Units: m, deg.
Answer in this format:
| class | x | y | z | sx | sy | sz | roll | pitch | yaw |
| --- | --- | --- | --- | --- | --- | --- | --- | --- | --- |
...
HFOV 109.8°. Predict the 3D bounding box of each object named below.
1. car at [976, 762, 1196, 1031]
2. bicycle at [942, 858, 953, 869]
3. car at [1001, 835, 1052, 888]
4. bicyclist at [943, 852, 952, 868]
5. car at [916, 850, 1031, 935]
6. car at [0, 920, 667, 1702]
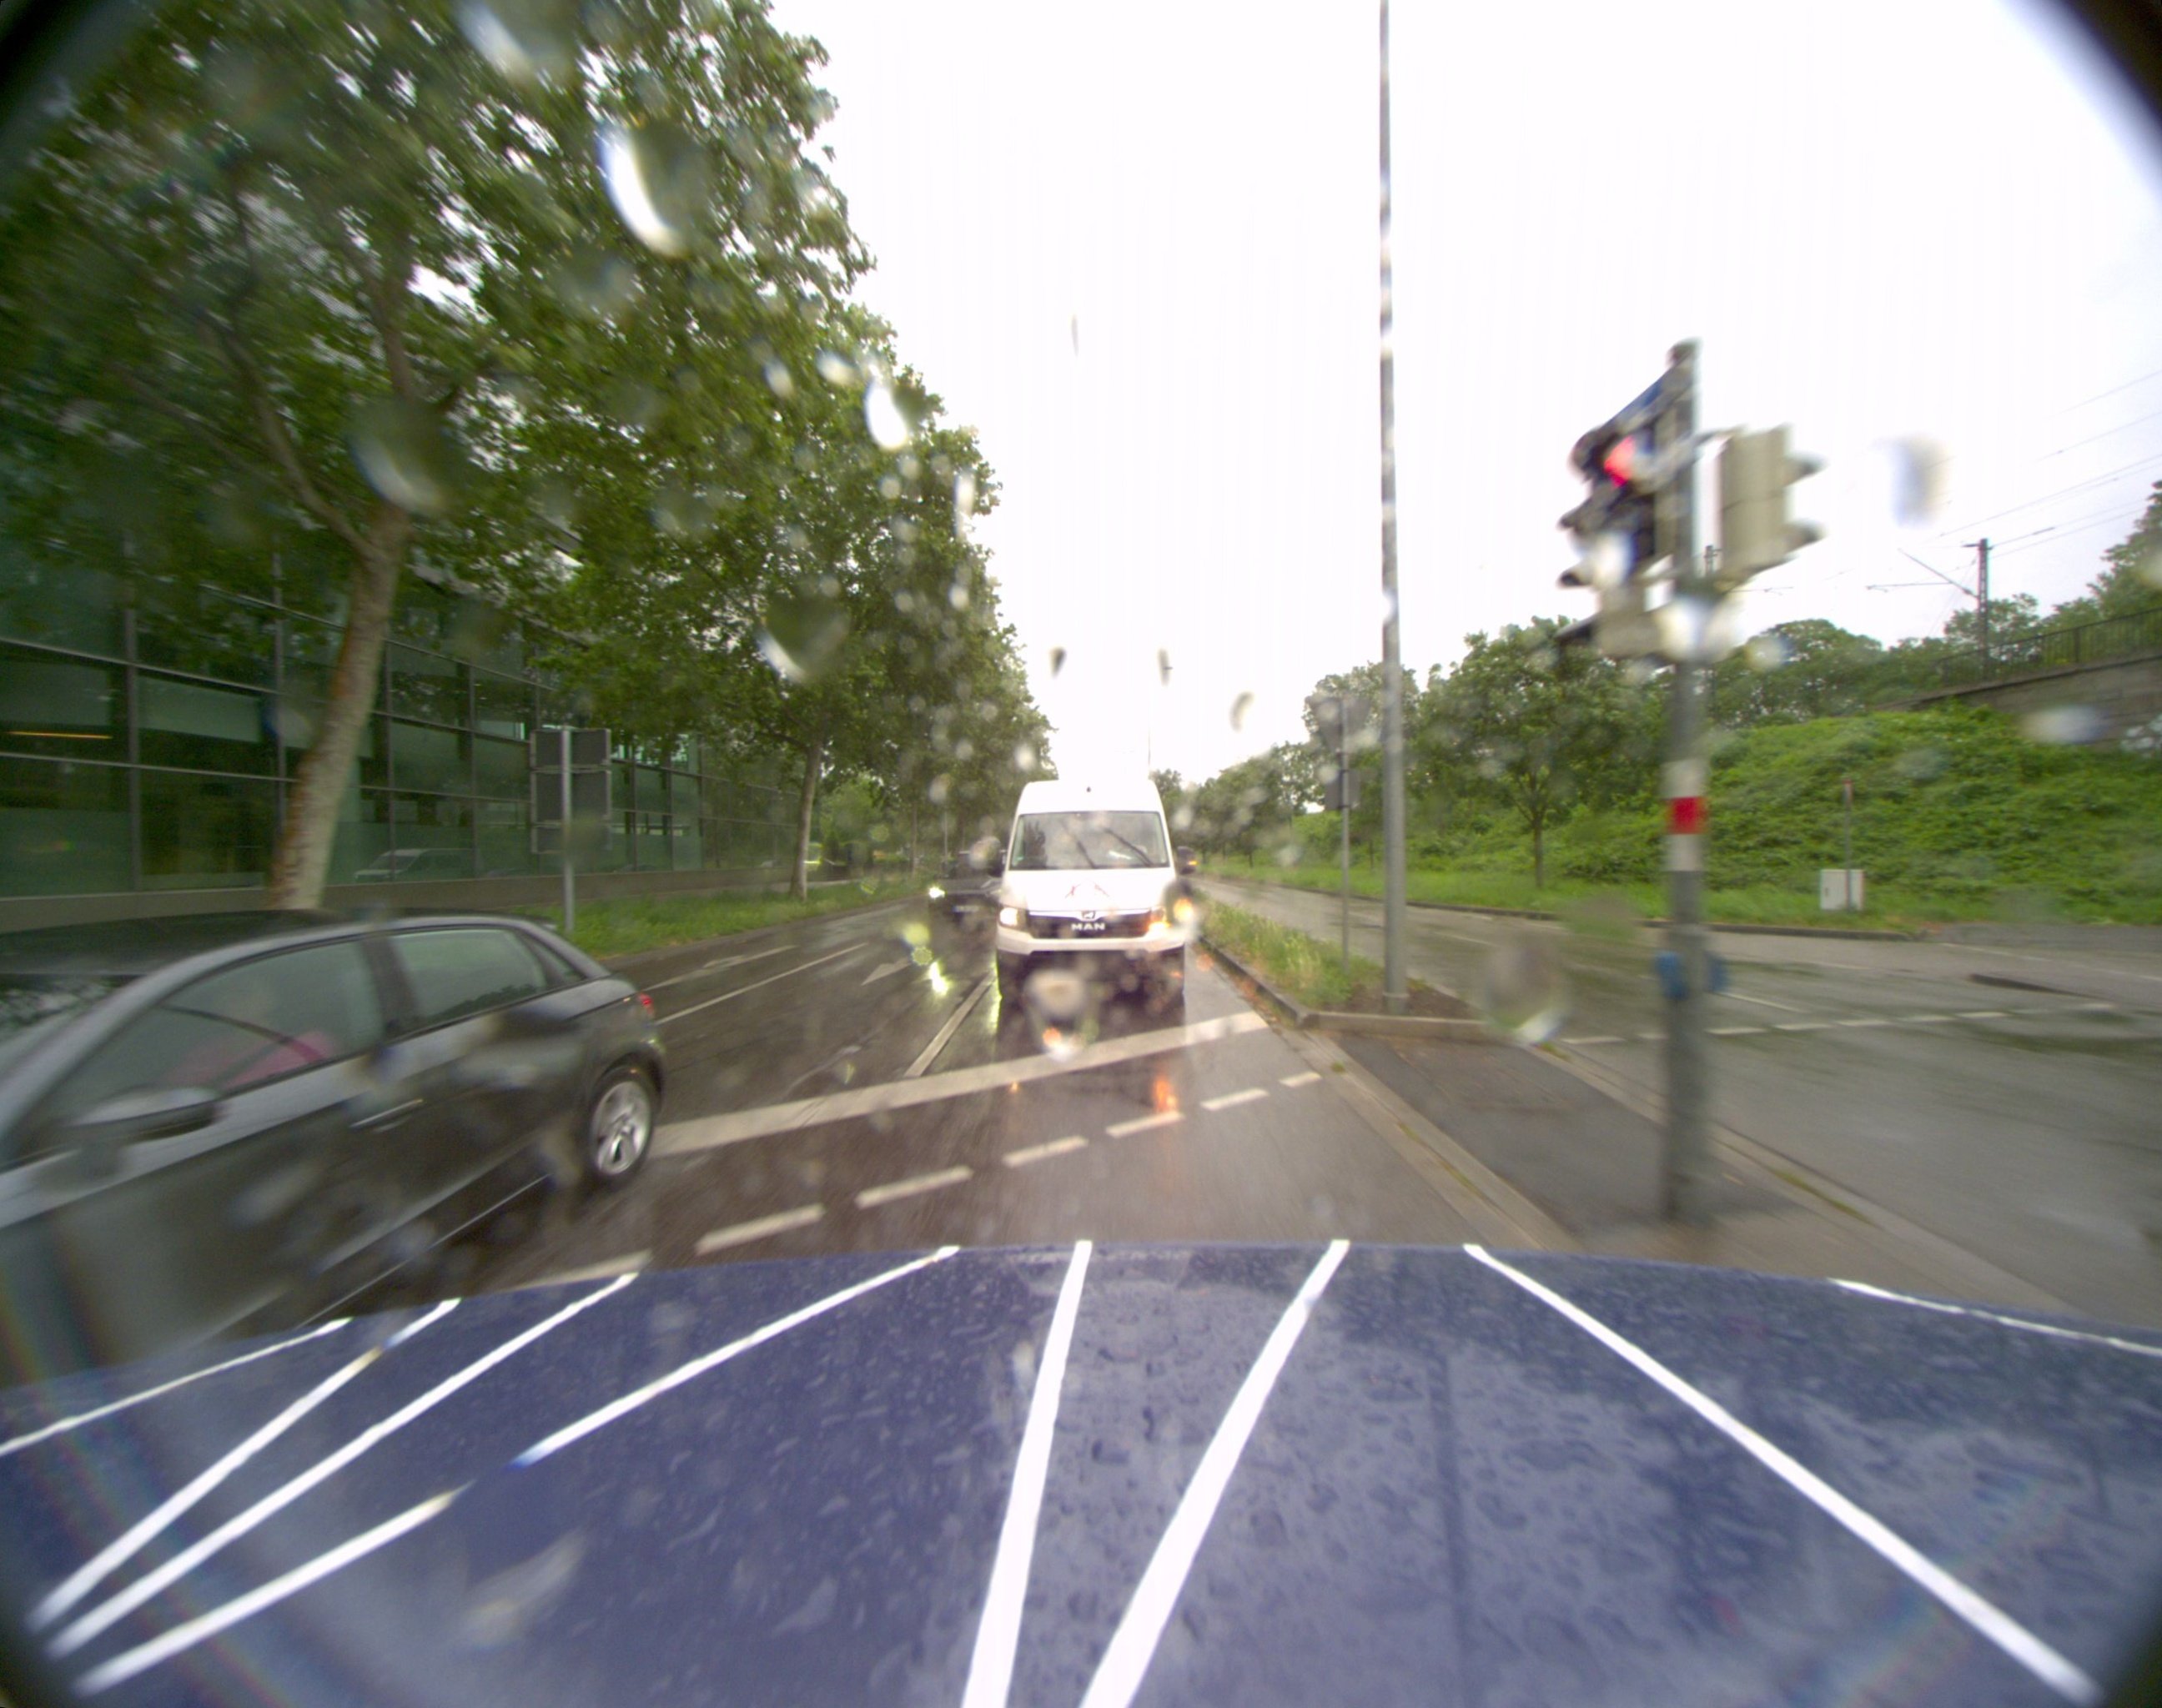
| class | x | y | z | sx | sy | sz | roll | pitch | yaw |
| --- | --- | --- | --- | --- | --- | --- | --- | --- | --- |
| car | 0.189 | 0.381 | 9.852 | 1.968 | 2.419 | 5.962 | -1 | 0 | 3 |
| bicycle | -13.416 | 0.953 | 76.334 | 0.745 | 1.098 | 2.076 | 1 | 1 | -1 |
| car | -2.557 | 0.331 | 36.926 | 1.998 | 2.416 | 4.978 | -1 | 0 | 1 |
| bicyclist | -13.398 | 0.583 | 76.325 | 0.807 | 1.506 | 0.752 | 2 | 1 | -2 |
| car | -2.352 | 0.805 | 17.802 | 1.998 | 1.738 | 4.328 | 0 | 0 | 1 |
| car | -3.152 | 1.077 | 2.114 | 1.840 | 1.390 | 3.753 | -2 | 0 | 1 |
